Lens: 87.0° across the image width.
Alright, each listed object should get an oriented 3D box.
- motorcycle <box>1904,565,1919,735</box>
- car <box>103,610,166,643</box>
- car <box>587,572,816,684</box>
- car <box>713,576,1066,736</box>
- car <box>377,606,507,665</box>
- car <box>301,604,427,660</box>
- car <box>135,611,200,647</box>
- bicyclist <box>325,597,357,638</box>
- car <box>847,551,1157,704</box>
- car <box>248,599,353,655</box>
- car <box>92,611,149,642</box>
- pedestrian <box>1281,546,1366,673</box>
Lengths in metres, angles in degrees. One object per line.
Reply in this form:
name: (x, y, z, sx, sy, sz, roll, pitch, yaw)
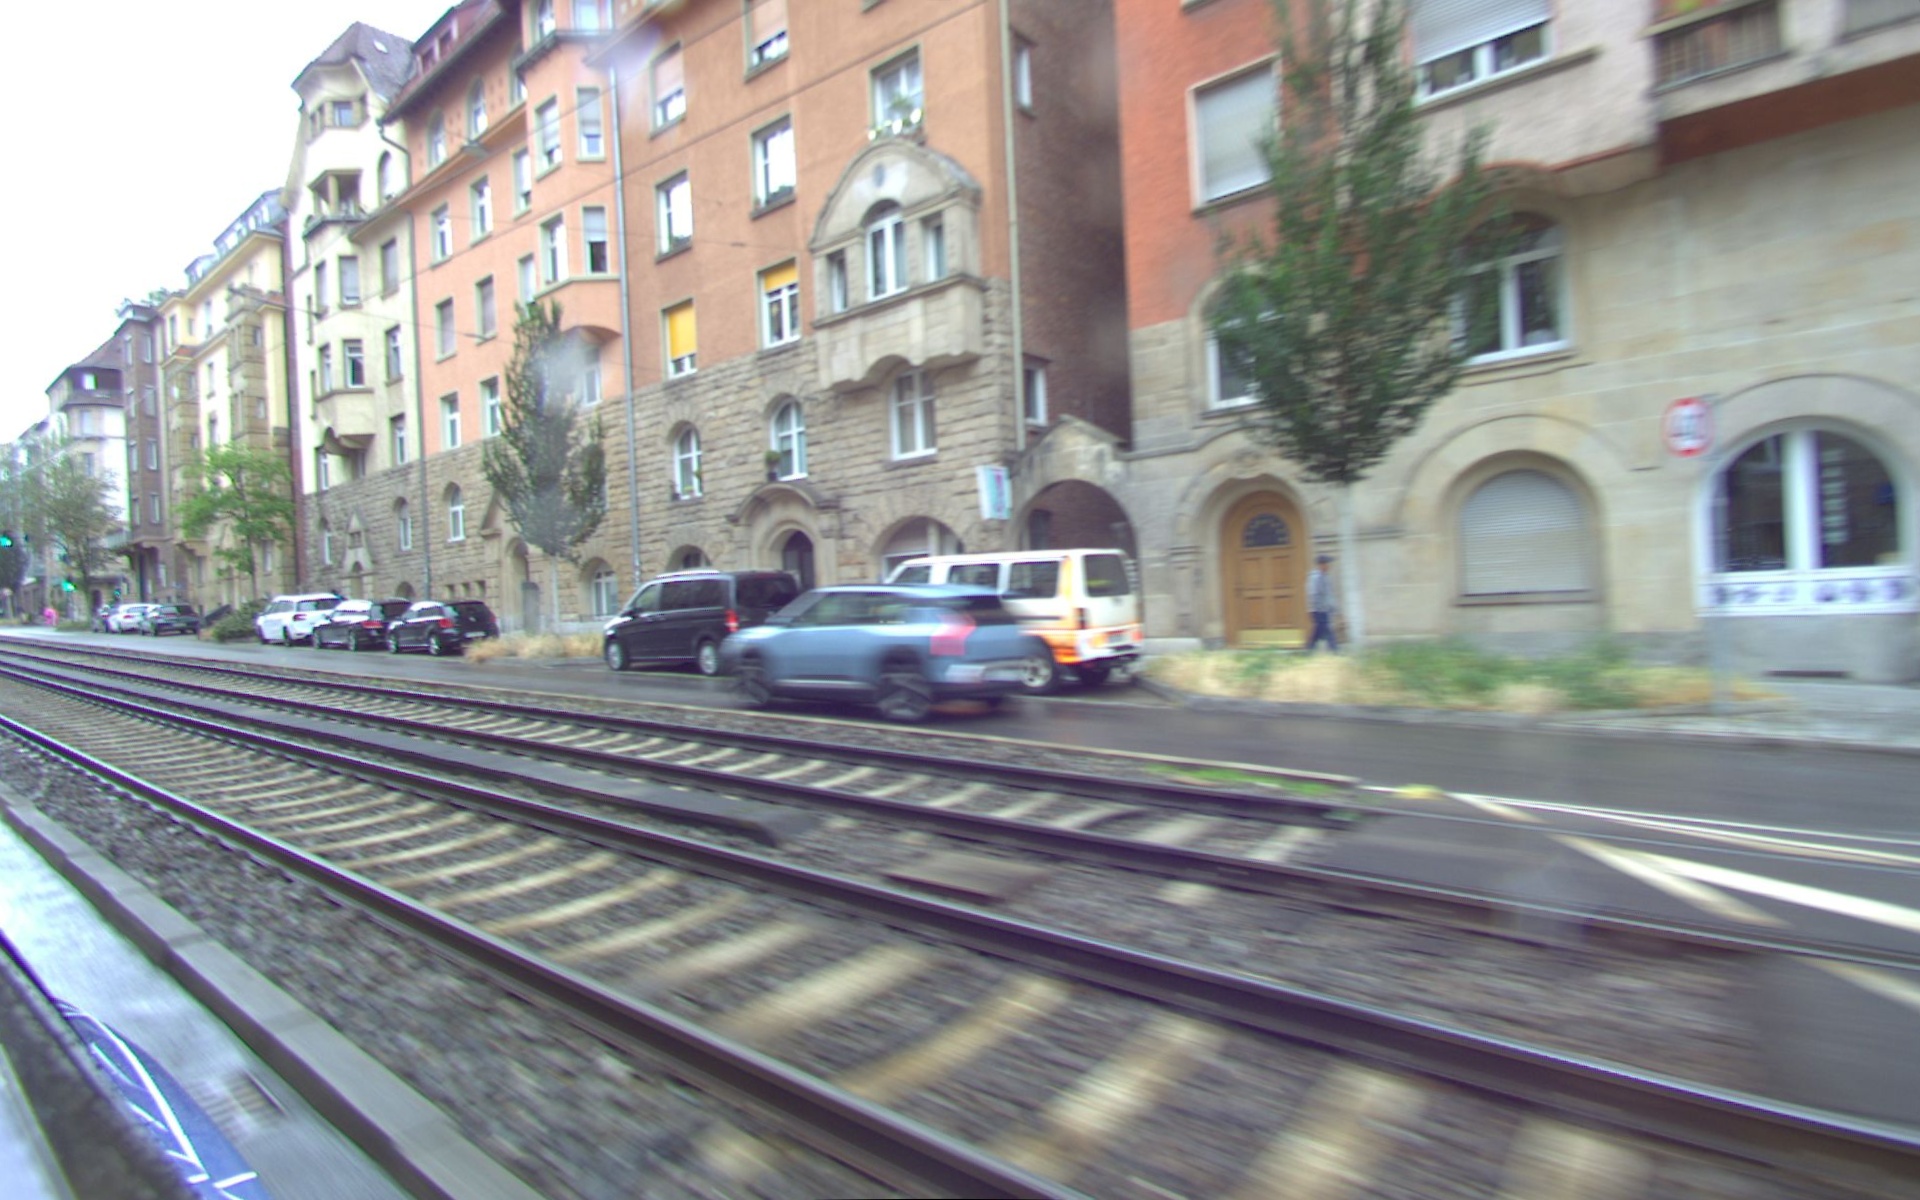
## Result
motorcycle: (8.728, 0.396, 8.228, 1.754, 1.385, 0.770, -1, 0, -18)
car: (-41.151, 1.285, 50.420, 4.042, 1.462, 1.737, 0, 3, 42)
car: (-5.132, 0.492, 19.734, 4.828, 1.945, 1.886, -1, 0, 40)
car: (-0.959, 0.579, 12.355, 4.124, 1.629, 1.902, -1, 0, 39)
car: (-14.200, 0.923, 27.679, 3.690, 1.414, 1.739, -1, 2, 38)
car: (-18.098, 0.917, 30.658, 4.593, 1.502, 1.738, -1, 2, 39)
car: (-36.481, 1.304, 46.562, 3.711, 1.493, 1.695, 0, 3, 42)
bicyclist: (-24.311, 0.677, 39.731, 0.774, 1.613, 0.883, -1, 0, 40)
car: (0.510, 0.360, 15.004, 4.472, 1.945, 1.711, -1, 0, 39)
car: (-22.408, 0.877, 34.331, 4.256, 1.684, 1.738, -1, 3, 40)
car: (-44.622, 1.385, 53.761, 3.711, 1.438, 1.737, 0, 3, 42)
pedestrian: (5.231, 0.124, 14.574, 0.892, 1.731, 0.710, -1, 6, 41)
